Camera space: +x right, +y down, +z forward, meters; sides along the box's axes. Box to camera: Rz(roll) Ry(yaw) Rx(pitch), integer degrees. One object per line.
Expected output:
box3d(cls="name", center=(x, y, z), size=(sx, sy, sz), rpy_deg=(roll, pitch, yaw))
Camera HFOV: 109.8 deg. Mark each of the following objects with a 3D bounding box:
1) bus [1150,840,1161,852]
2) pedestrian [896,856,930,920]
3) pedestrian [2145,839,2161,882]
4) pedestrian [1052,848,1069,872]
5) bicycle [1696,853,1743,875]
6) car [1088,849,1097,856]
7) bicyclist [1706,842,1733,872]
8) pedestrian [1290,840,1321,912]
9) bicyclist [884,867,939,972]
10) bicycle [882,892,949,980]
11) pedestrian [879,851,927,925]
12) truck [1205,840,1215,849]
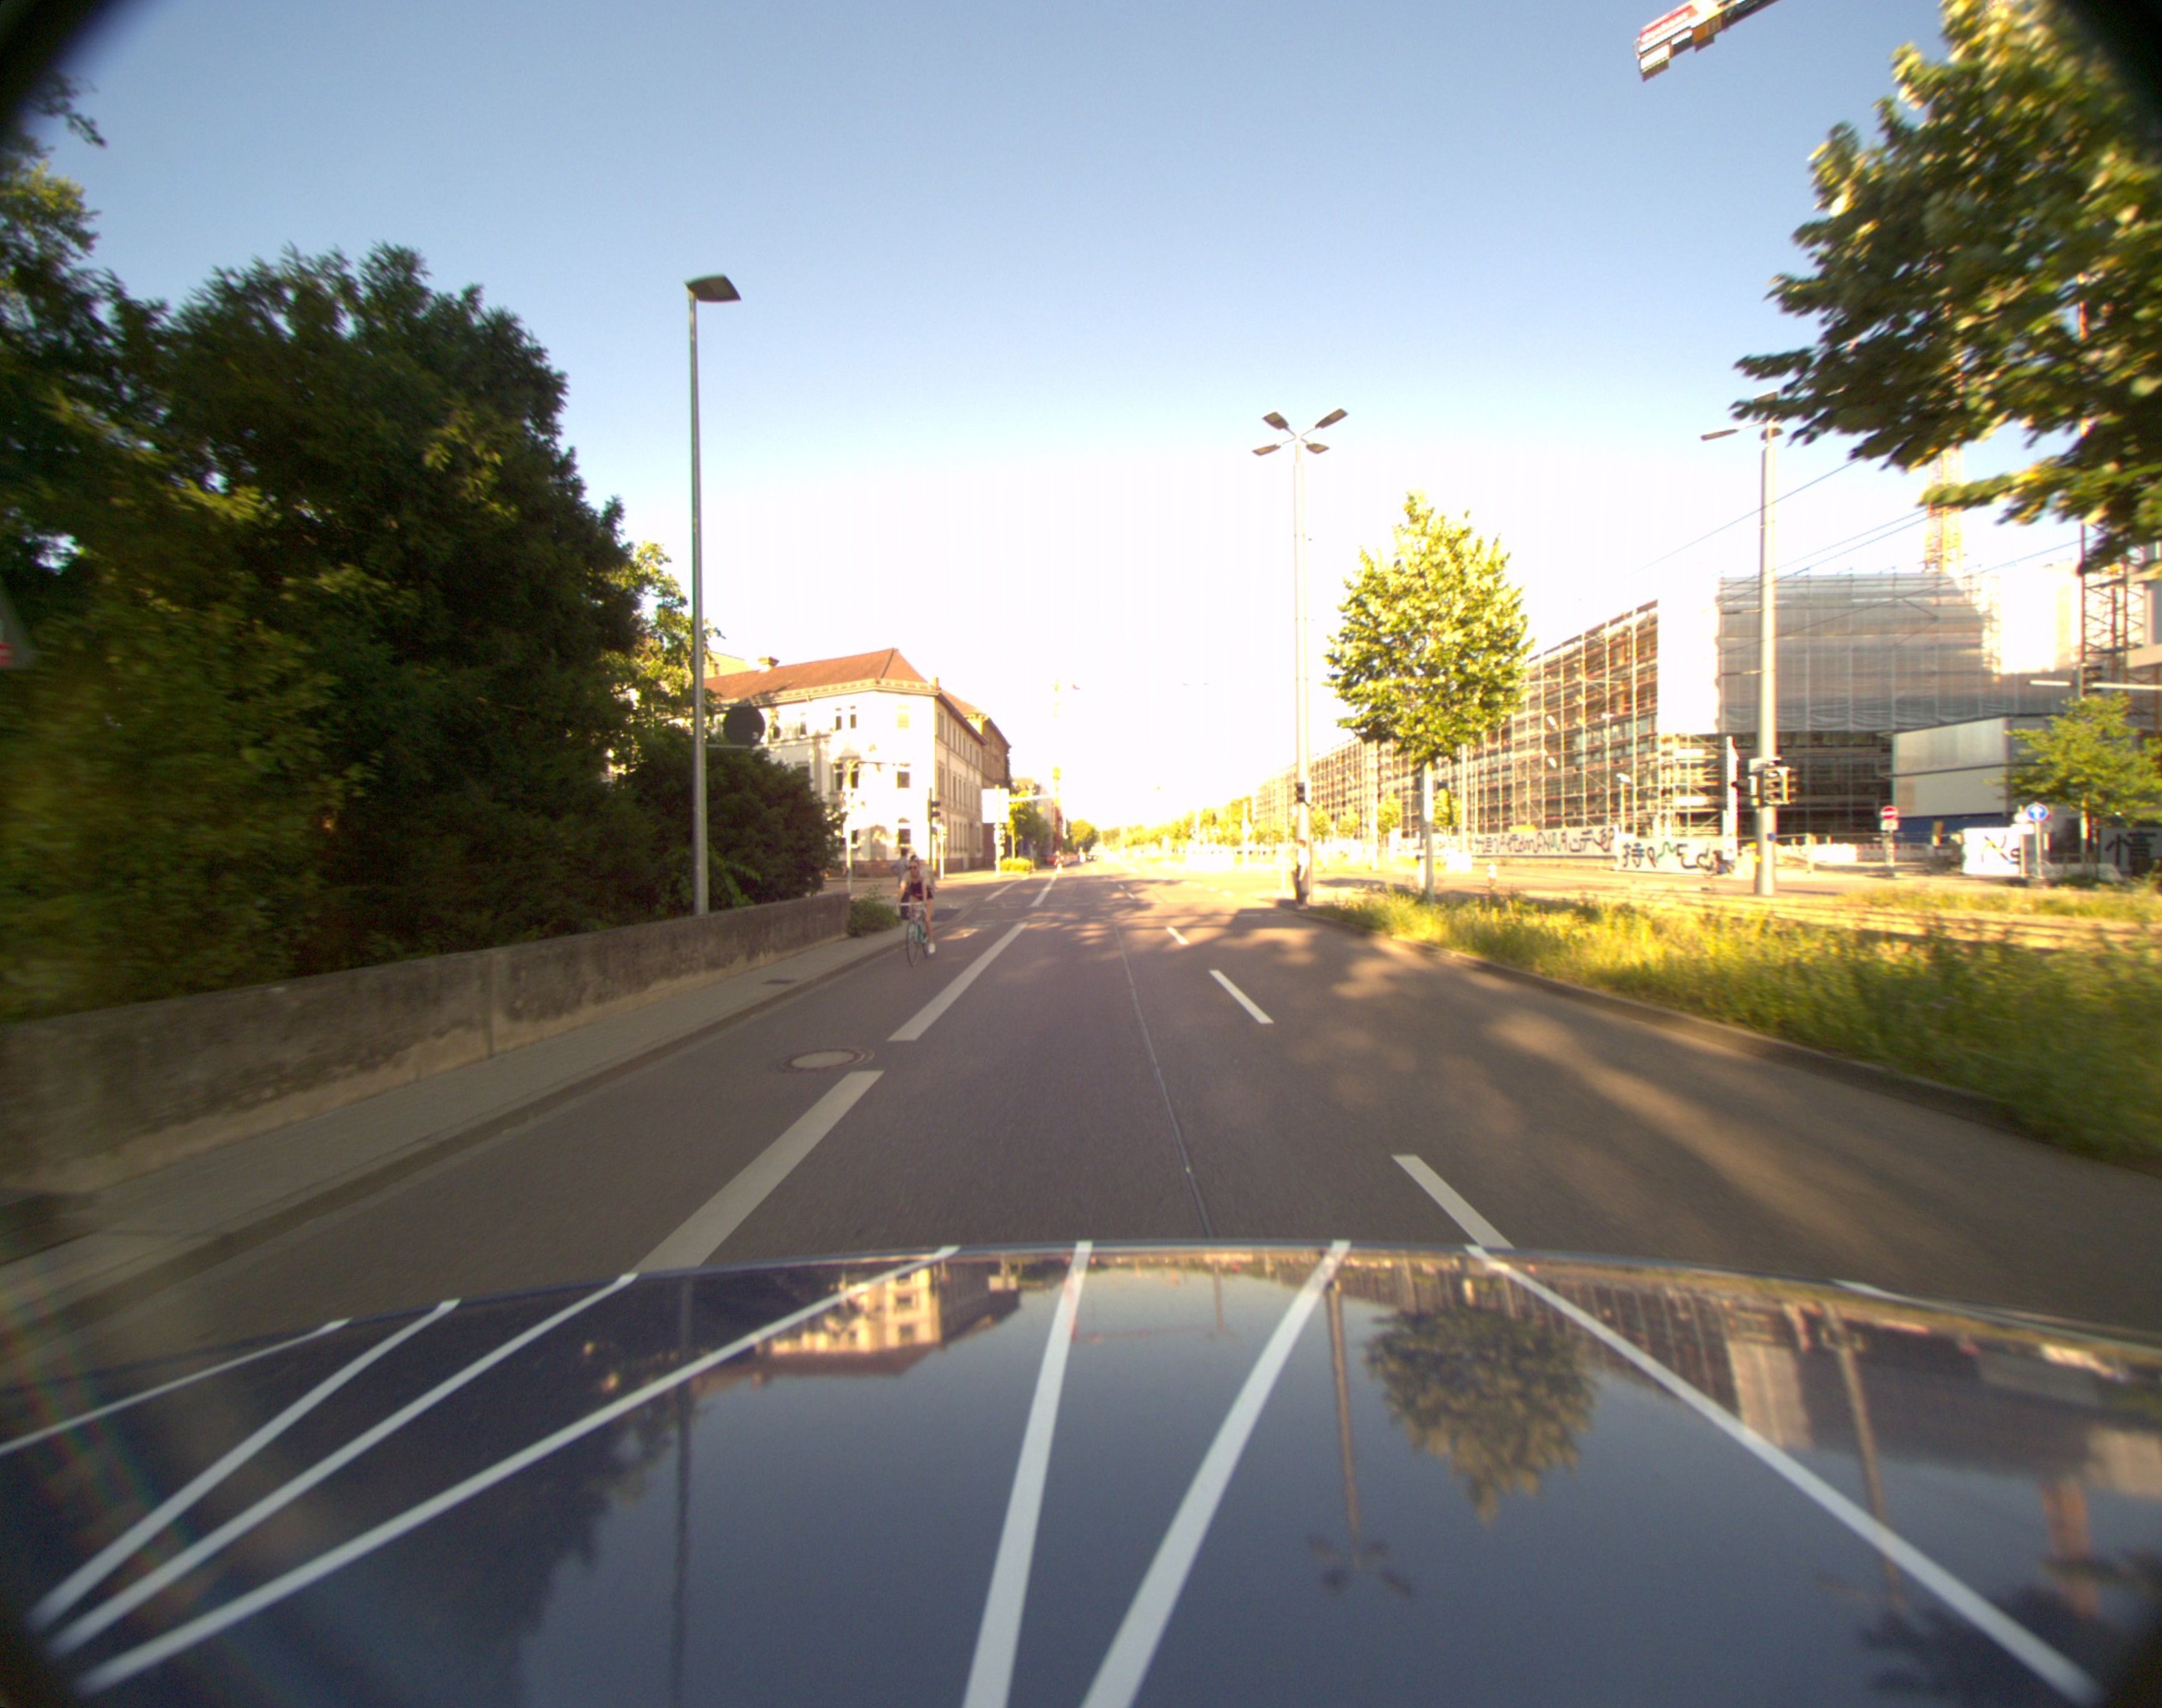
box3d(cls="bus", center=(19.306, -2.023, 198.257), size=(2.723, 3.203, 8.658), rpy_deg=(-1, 0, 5))
box3d(cls="pedestrian", center=(-4.367, 0.866, 19.795), size=(0.769, 1.627, 0.769), rpy_deg=(1, 1, -9))
box3d(cls="pedestrian", center=(38.081, 0.235, 26.778), size=(0.589, 1.490, 0.575), rpy_deg=(-2, 2, -45))
box3d(cls="pedestrian", center=(-1.445, 0.433, 53.617), size=(0.925, 1.639, 0.766), rpy_deg=(0, 1, 27))
box3d(cls="bicycle", center=(31.674, 0.486, 37.717), size=(0.626, 1.061, 2.078), rpy_deg=(-1, 1, 2))
box3d(cls="car", center=(2.780, -0.373, 181.167), size=(1.998, 1.696, 3.999), rpy_deg=(-1, 1, 0))
box3d(cls="bicyclist", center=(31.671, 0.133, 37.692), size=(0.626, 1.456, 0.851), rpy_deg=(-1, 1, 2))
box3d(cls="pedestrian", center=(5.382, 0.518, 18.246), size=(0.599, 1.689, 0.714), rpy_deg=(0, 1, 6))
box3d(cls="bicyclist", center=(-2.526, 0.954, 11.436), size=(0.554, 1.482, 1.081), rpy_deg=(-1, 0, 1))
box3d(cls="bicycle", center=(-2.481, 1.191, 11.548), size=(0.522, 1.091, 1.842), rpy_deg=(-3, 1, 1))
box3d(cls="pedestrian", center=(-4.465, 0.828, 19.031), size=(0.861, 1.792, 0.905), rpy_deg=(1, 1, -34))
box3d(cls="truck", center=(35.581, -2.569, 209.785), size=(2.143, 2.559, 4.740), rpy_deg=(-1, 0, 3))
